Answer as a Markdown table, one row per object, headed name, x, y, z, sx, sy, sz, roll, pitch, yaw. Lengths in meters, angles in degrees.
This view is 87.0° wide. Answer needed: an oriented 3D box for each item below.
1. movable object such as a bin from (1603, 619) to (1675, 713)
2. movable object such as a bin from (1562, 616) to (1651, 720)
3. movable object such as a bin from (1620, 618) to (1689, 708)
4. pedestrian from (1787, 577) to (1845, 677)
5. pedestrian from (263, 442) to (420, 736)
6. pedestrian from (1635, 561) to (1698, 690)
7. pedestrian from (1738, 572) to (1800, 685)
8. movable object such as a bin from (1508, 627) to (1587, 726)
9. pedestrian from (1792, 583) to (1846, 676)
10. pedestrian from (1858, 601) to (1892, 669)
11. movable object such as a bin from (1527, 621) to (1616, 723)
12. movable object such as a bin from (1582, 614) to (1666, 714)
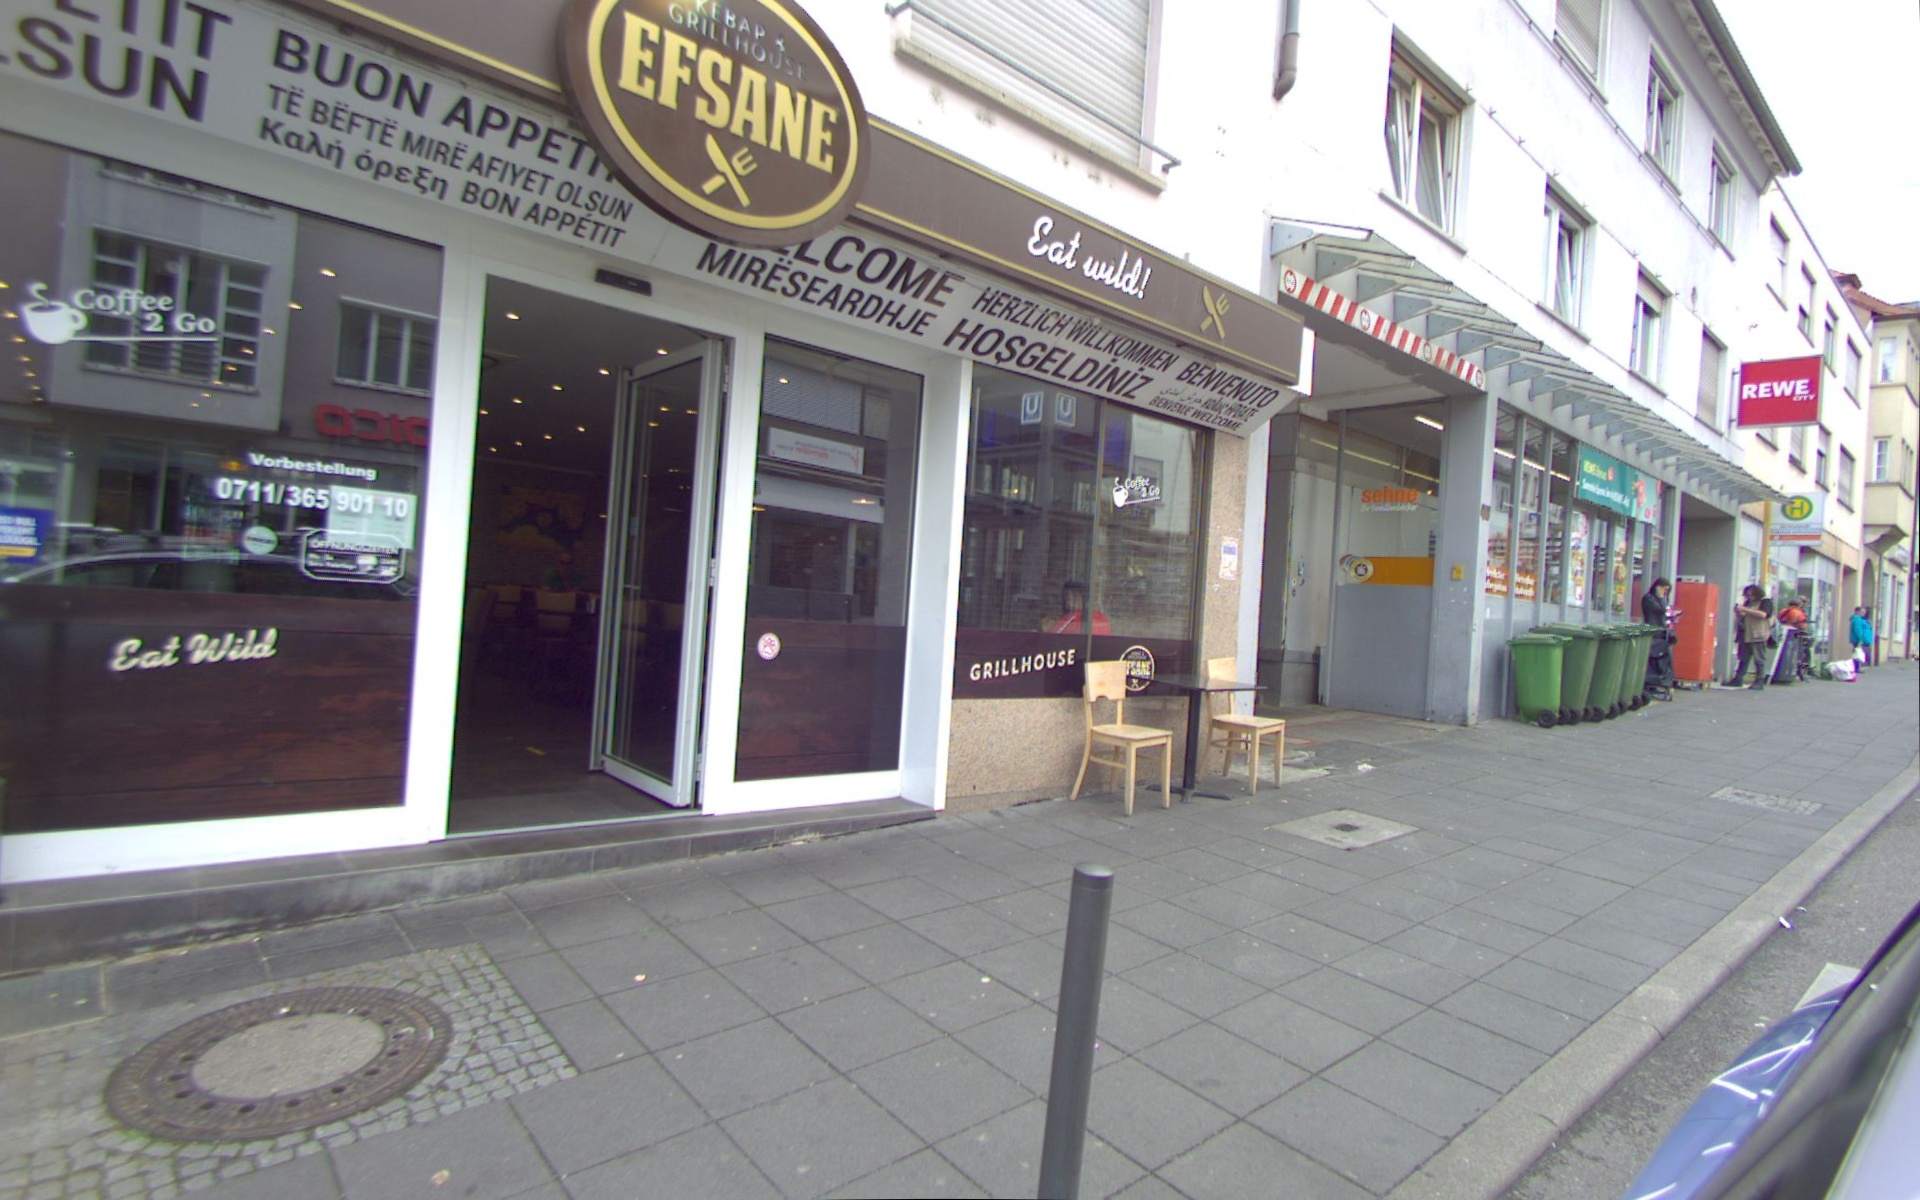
| name | x | y | z | sx | sy | sz | roll | pitch | yaw |
| --- | --- | --- | --- | --- | --- | --- | --- | --- | --- |
| movable object such as a bin | 8.304 | 0.791 | 12.375 | 0.564 | 1.073 | 0.569 | 1 | 2 | -41 |
| movable object such as a bin | 7.314 | 0.749 | 11.455 | 0.661 | 1.094 | 0.652 | 1 | 2 | -41 |
| movable object such as a bin | 8.743 | 0.776 | 12.745 | 0.549 | 1.070 | 0.559 | 1 | 2 | -41 |
| pedestrian | 15.998 | 0.493 | 18.927 | 0.618 | 1.845 | 0.604 | 0 | 0 | 15 |
| pedestrian | -3.910 | -0.074 | 6.415 | 0.621 | 1.747 | 0.601 | 1 | 0 | 26 |
| pedestrian | 9.826 | 0.346 | 14.092 | 0.621 | 1.747 | 0.601 | 0 | 0 | 26 |
| pedestrian | 13.081 | 0.440 | 16.370 | 0.626 | 1.746 | 0.597 | 5 | 3 | 44 |
| movable object such as a bin | 6.263 | 0.797 | 10.786 | 0.490 | 0.968 | 0.568 | 1 | 2 | -41 |
| pedestrian | 16.536 | 0.549 | 19.500 | 0.599 | 1.747 | 0.624 | 0 | 0 | 19 |
| pedestrian | 23.027 | 0.866 | 25.462 | 0.625 | 1.650 | 0.597 | 0 | 0 | 44 |
| movable object such as a bin | 6.728 | 0.771 | 11.144 | 0.550 | 1.043 | 0.670 | 1 | 2 | -41 |
| movable object such as a bin | 7.838 | 0.735 | 11.948 | 0.648 | 1.094 | 0.652 | 1 | 2 | -41 |
